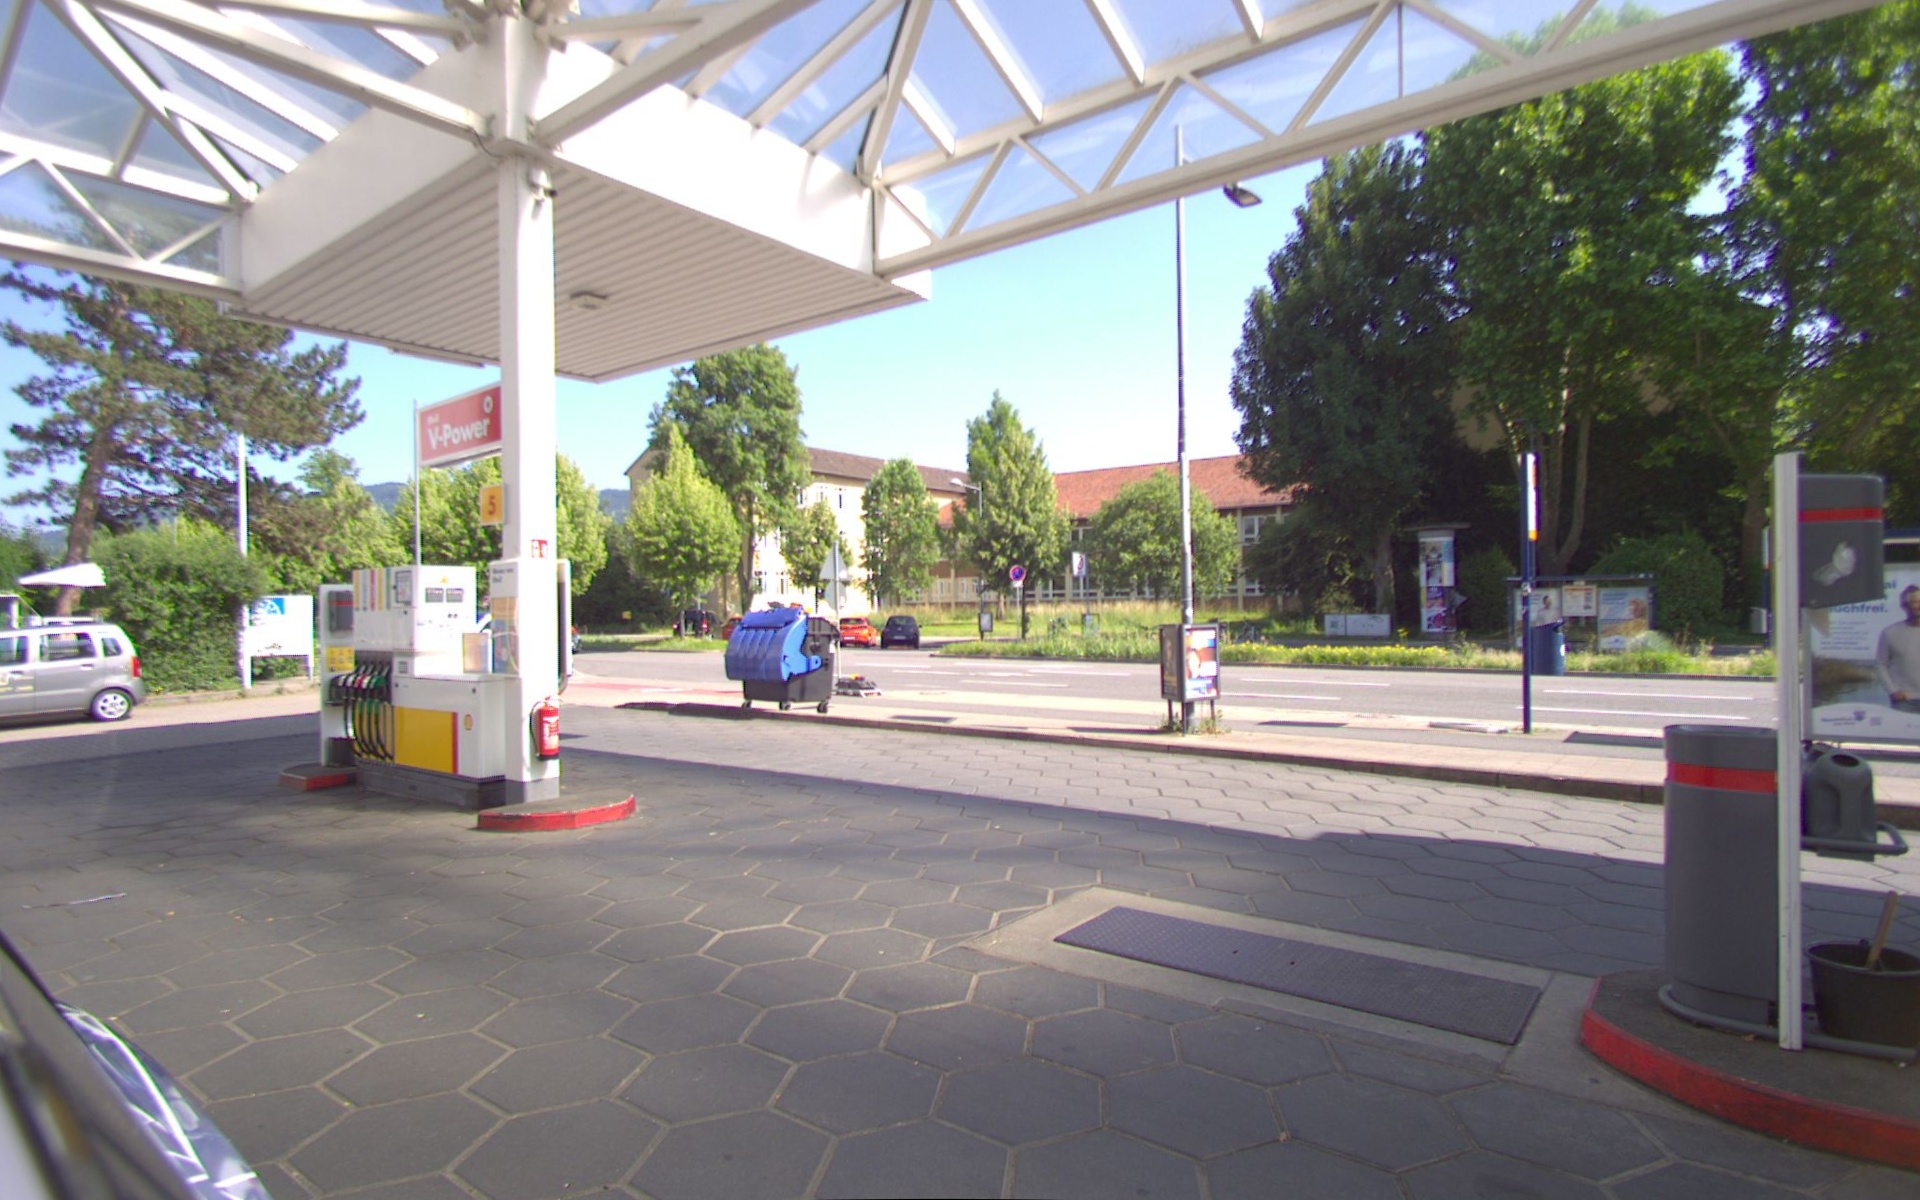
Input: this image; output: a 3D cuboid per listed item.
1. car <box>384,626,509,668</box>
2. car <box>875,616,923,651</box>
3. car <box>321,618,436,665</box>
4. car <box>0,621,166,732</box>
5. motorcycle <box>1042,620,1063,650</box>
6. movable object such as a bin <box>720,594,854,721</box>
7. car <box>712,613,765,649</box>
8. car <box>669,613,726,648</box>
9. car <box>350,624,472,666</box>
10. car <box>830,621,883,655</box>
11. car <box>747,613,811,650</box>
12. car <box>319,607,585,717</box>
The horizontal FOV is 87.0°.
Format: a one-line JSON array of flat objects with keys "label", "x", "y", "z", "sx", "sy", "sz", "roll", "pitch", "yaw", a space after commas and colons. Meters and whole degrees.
[{"label": "car", "x": -18.543, "y": 1.668, "z": 36.764, "sx": 1.861, "sy": 1.428, "sz": 4.210, "roll": 0, "pitch": -2, "yaw": 11}, {"label": "car", "x": -2.679, "y": 1.491, "z": 45.145, "sx": 1.718, "sy": 1.471, "sz": 4.223, "roll": 0, "pitch": -2, "yaw": 2}, {"label": "car", "x": -22.810, "y": 1.595, "z": 39.905, "sx": 1.684, "sy": 1.733, "sz": 4.395, "roll": 0, "pitch": -1, "yaw": 6}, {"label": "car", "x": -15.340, "y": 1.239, "z": 16.389, "sx": 1.691, "sy": 1.629, "sz": 3.614, "roll": -2, "pitch": 0, "yaw": 39}, {"label": "motorcycle", "x": 3.665, "y": 1.379, "z": 39.909, "sx": 0.552, "sy": 1.122, "sz": 1.750, "roll": -1, "pitch": -1, "yaw": 14}, {"label": "movable object such as a bin", "x": -2.481, "y": 0.812, "z": 14.562, "sx": 1.336, "sy": 1.701, "sz": 1.325, "roll": -1, "pitch": -3, "yaw": 39}, {"label": "car", "x": -11.222, "y": 1.584, "z": 51.590, "sx": 1.854, "sy": 1.735, "sz": 4.226, "roll": 1, "pitch": -2, "yaw": -1}, {"label": "car", "x": -13.414, "y": 1.569, "z": 51.905, "sx": 1.854, "sy": 1.735, "sz": 4.226, "roll": 1, "pitch": -2, "yaw": -1}, {"label": "car", "x": -20.812, "y": 1.684, "z": 38.580, "sx": 1.861, "sy": 1.493, "sz": 4.210, "roll": 0, "pitch": -2, "yaw": 11}, {"label": "car", "x": -4.744, "y": 1.752, "z": 47.003, "sx": 1.856, "sy": 1.471, "sz": 4.223, "roll": 1, "pitch": -2, "yaw": 2}, {"label": "car", "x": -8.858, "y": 1.555, "z": 49.919, "sx": 1.860, "sy": 1.735, "sz": 4.214, "roll": 0, "pitch": -2, "yaw": 9}, {"label": "car", "x": -8.883, "y": 1.015, "z": 18.164, "sx": 1.943, "sy": 1.719, "sz": 4.288, "roll": -2, "pitch": -1, "yaw": 14}]
